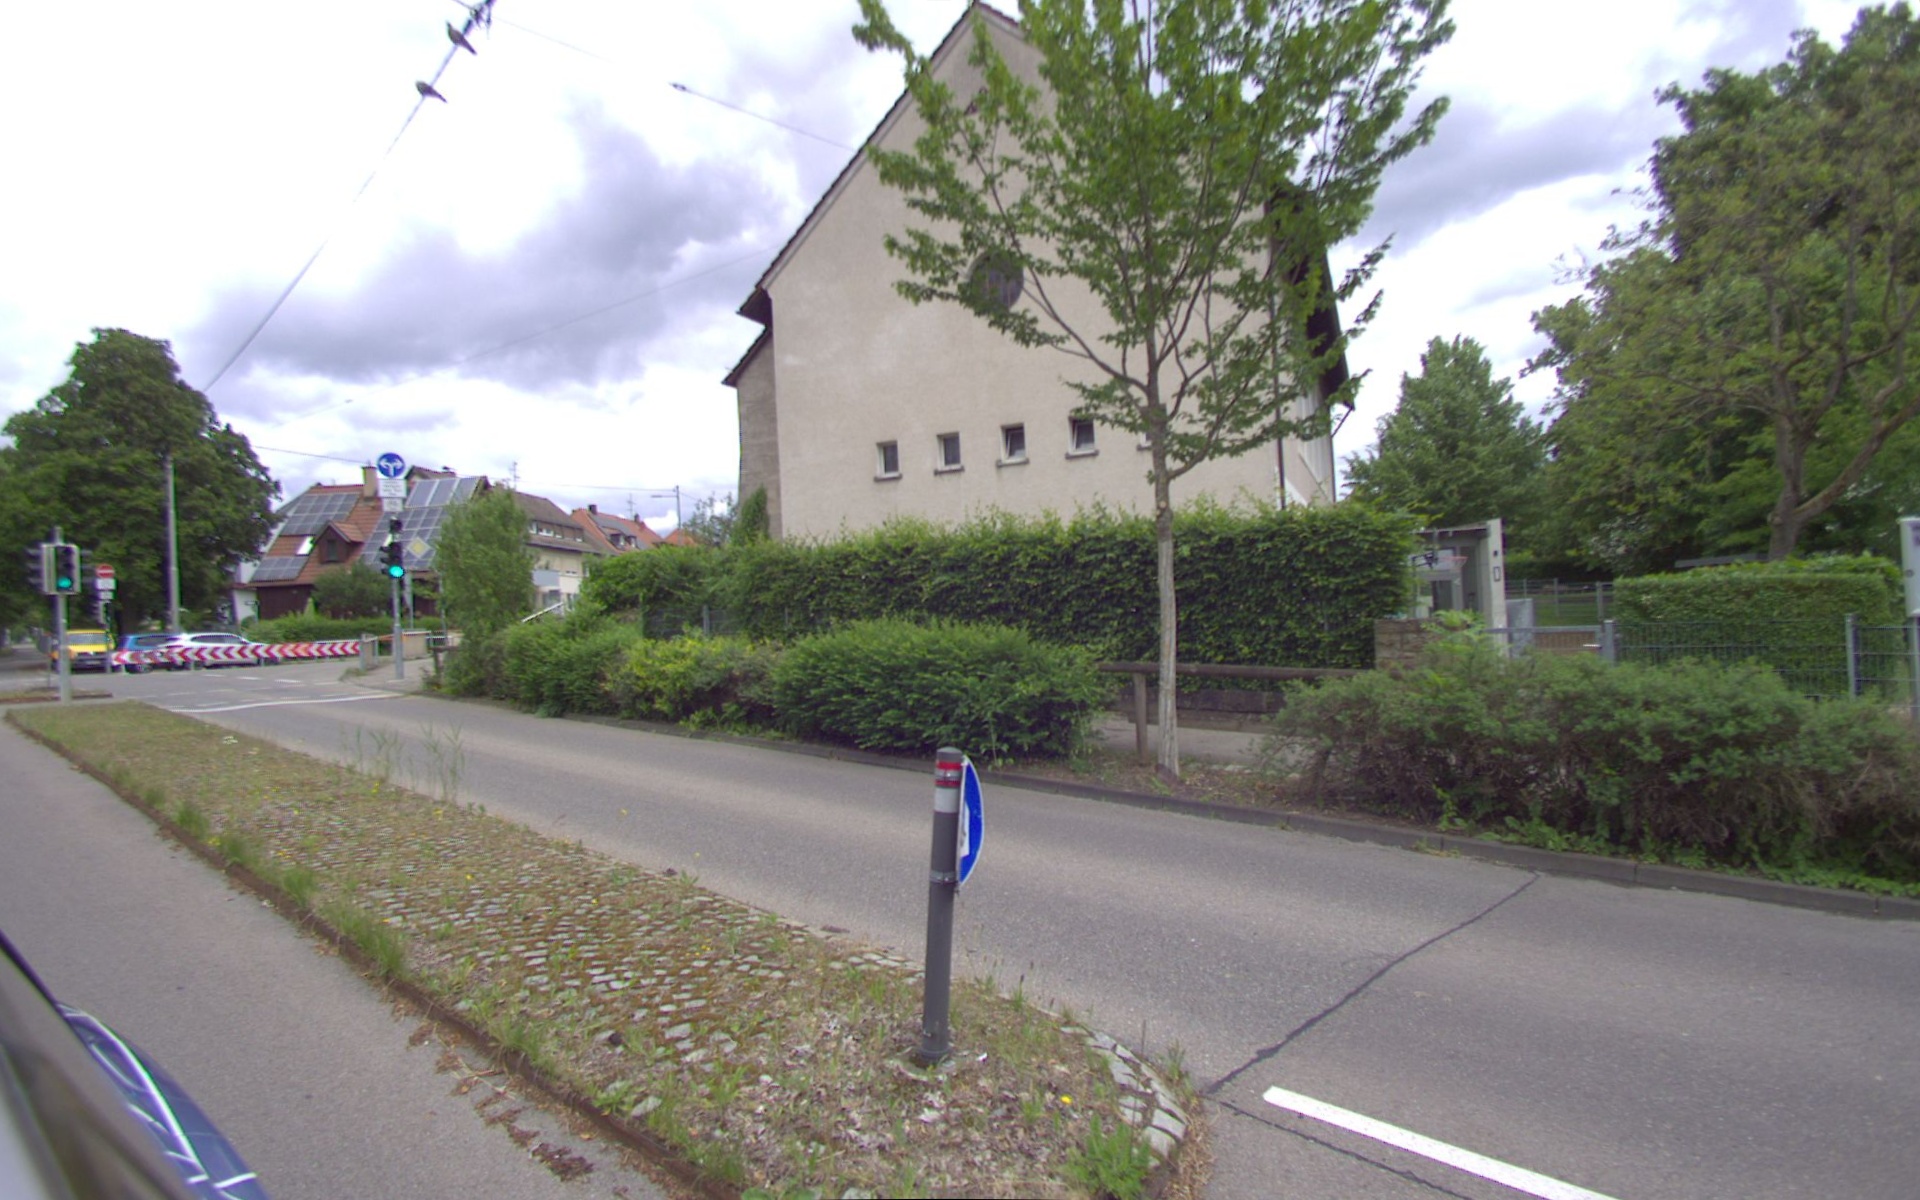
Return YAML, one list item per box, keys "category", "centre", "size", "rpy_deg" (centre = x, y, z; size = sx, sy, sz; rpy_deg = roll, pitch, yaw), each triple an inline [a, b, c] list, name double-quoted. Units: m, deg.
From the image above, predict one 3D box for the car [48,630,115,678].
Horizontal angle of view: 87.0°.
- category: "car"
  centre: [-40.039, 2.444, 46.093]
  size: [4.801, 2.004, 1.895]
  rpy_deg: [-3, -2, 44]

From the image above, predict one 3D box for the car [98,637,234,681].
- category: "car"
  centre: [-32.964, 2.416, 42.094]
  size: [1.843, 1.558, 4.124]
  rpy_deg: [-4, -2, 39]

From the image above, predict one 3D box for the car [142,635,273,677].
- category: "car"
  centre: [-30.605, 2.256, 41.252]
  size: [1.839, 1.483, 3.863]
  rpy_deg: [-4, -2, 31]
